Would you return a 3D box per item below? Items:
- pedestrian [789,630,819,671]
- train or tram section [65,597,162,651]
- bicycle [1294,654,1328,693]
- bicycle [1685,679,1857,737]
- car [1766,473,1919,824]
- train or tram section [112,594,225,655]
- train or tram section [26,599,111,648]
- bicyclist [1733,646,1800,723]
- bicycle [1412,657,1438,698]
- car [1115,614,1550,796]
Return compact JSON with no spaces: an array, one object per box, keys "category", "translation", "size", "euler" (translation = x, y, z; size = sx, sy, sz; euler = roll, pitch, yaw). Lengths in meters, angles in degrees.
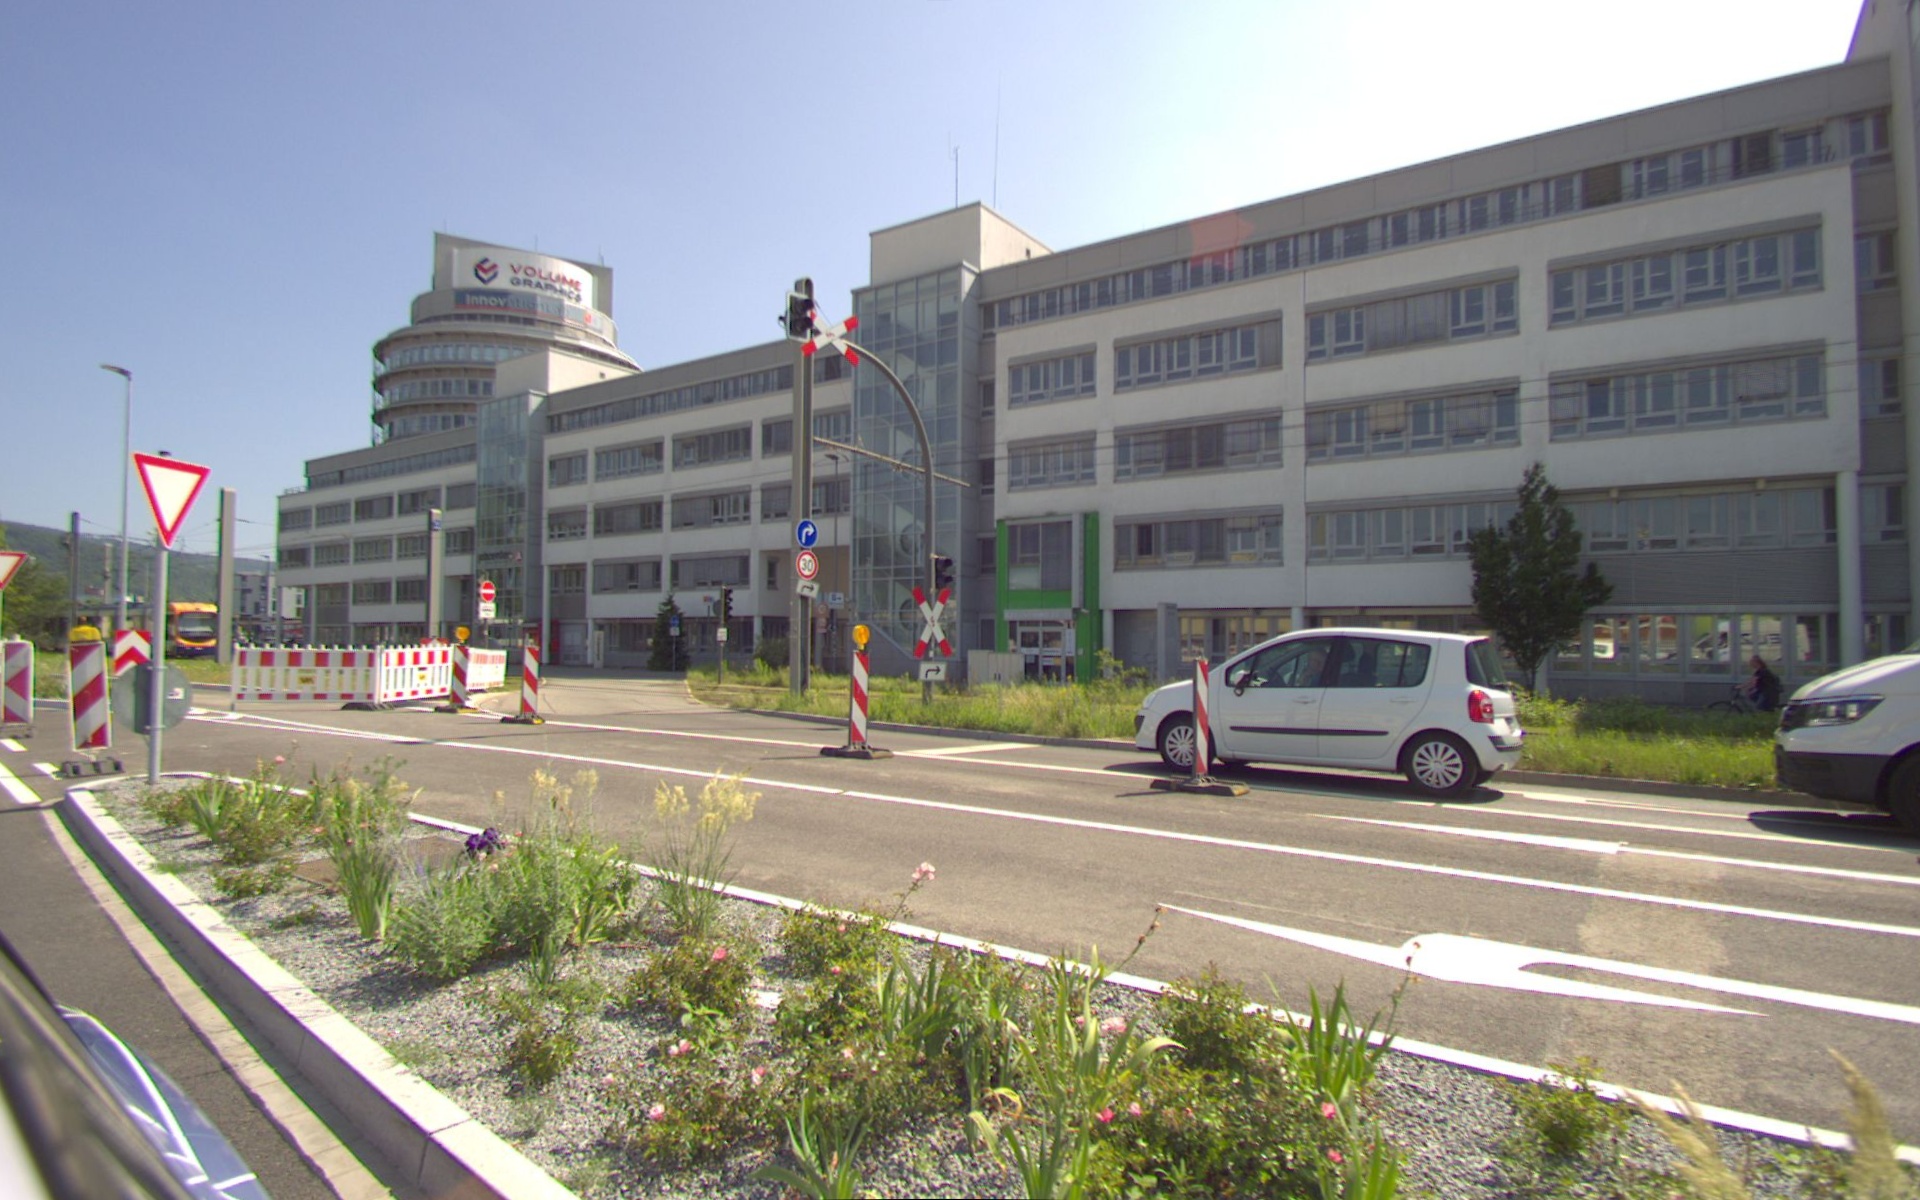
[{"category":"pedestrian","translation":[-7.128,2.300,46.206],"size":[1.106,1.840,0.759],"euler":[-2,-1,35]},{"category":"train or tram section","translation":[-58.369,1.626,69.636],"size":[11.761,3.477,2.600],"euler":[-1,-1,37]},{"category":"bicycle","translation":[11.893,2.482,34.303],"size":[0.521,1.198,1.629],"euler":[-2,-1,40]},{"category":"bicycle","translation":[17.261,2.276,21.653],"size":[2.826,1.025,0.747],"euler":[0,-1,37]},{"category":"car","translation":[9.529,0.398,6.899],"size":[6.183,2.598,2.012],"euler":[-1,-5,37]},{"category":"train or tram section","translation":[-49.012,1.472,62.506],"size":[11.761,3.477,2.600],"euler":[-1,-1,37]},{"category":"train or tram section","translation":[-67.729,1.768,76.766],"size":[11.761,3.477,2.600],"euler":[-1,-1,37]},{"category":"bicyclist","translation":[17.250,1.783,21.670],"size":[1.075,1.551,0.747],"euler":[0,-1,36]},{"category":"bicycle","translation":[14.746,2.444,32.075],"size":[0.437,1.198,1.632],"euler":[-2,-1,35]},{"category":"car","translation":[3.759,0.988,10.508],"size":[3.969,1.553,1.566],"euler":[-1,-5,36]}]
